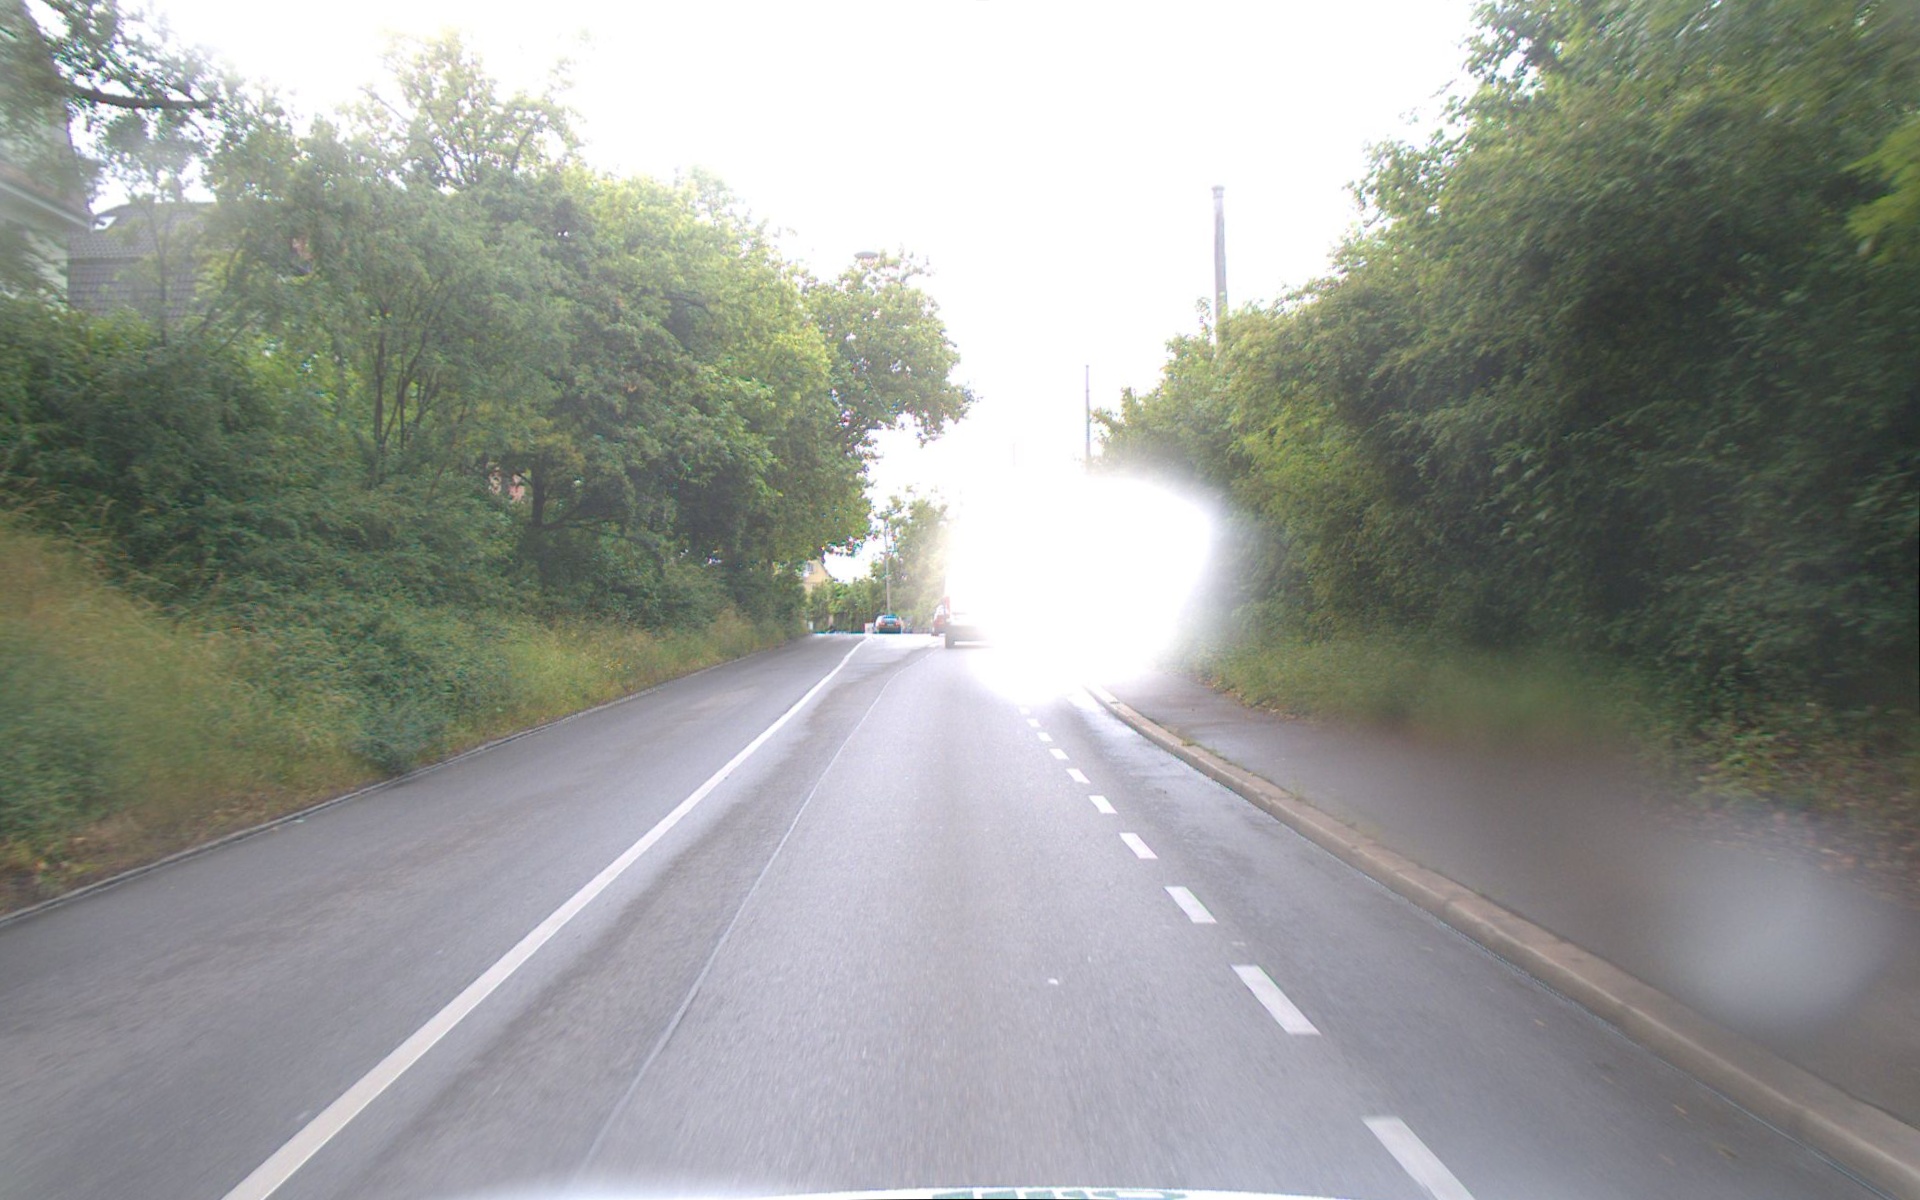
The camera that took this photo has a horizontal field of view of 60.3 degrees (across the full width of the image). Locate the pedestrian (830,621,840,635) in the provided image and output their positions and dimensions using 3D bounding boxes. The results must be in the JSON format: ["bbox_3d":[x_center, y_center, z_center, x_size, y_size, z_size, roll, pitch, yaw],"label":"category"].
[{"bbox_3d":[-12.791,2.826,169.417,0.863,1.391,1.062,1,0,-12],"label":"pedestrian"}]

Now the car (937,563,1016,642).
[{"bbox_3d":[0.452,0.067,50.514,2.192,2.252,4.712,1,0,-2],"label":"car"}]

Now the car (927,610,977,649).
[{"bbox_3d":[-0.329,1.352,77.174,2.191,1.686,4.714,1,0,1],"label":"car"}]

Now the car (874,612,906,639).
[{"bbox_3d":[-5.110,1.815,120.242,2.193,1.836,4.710,1,0,-3],"label":"car"}]
